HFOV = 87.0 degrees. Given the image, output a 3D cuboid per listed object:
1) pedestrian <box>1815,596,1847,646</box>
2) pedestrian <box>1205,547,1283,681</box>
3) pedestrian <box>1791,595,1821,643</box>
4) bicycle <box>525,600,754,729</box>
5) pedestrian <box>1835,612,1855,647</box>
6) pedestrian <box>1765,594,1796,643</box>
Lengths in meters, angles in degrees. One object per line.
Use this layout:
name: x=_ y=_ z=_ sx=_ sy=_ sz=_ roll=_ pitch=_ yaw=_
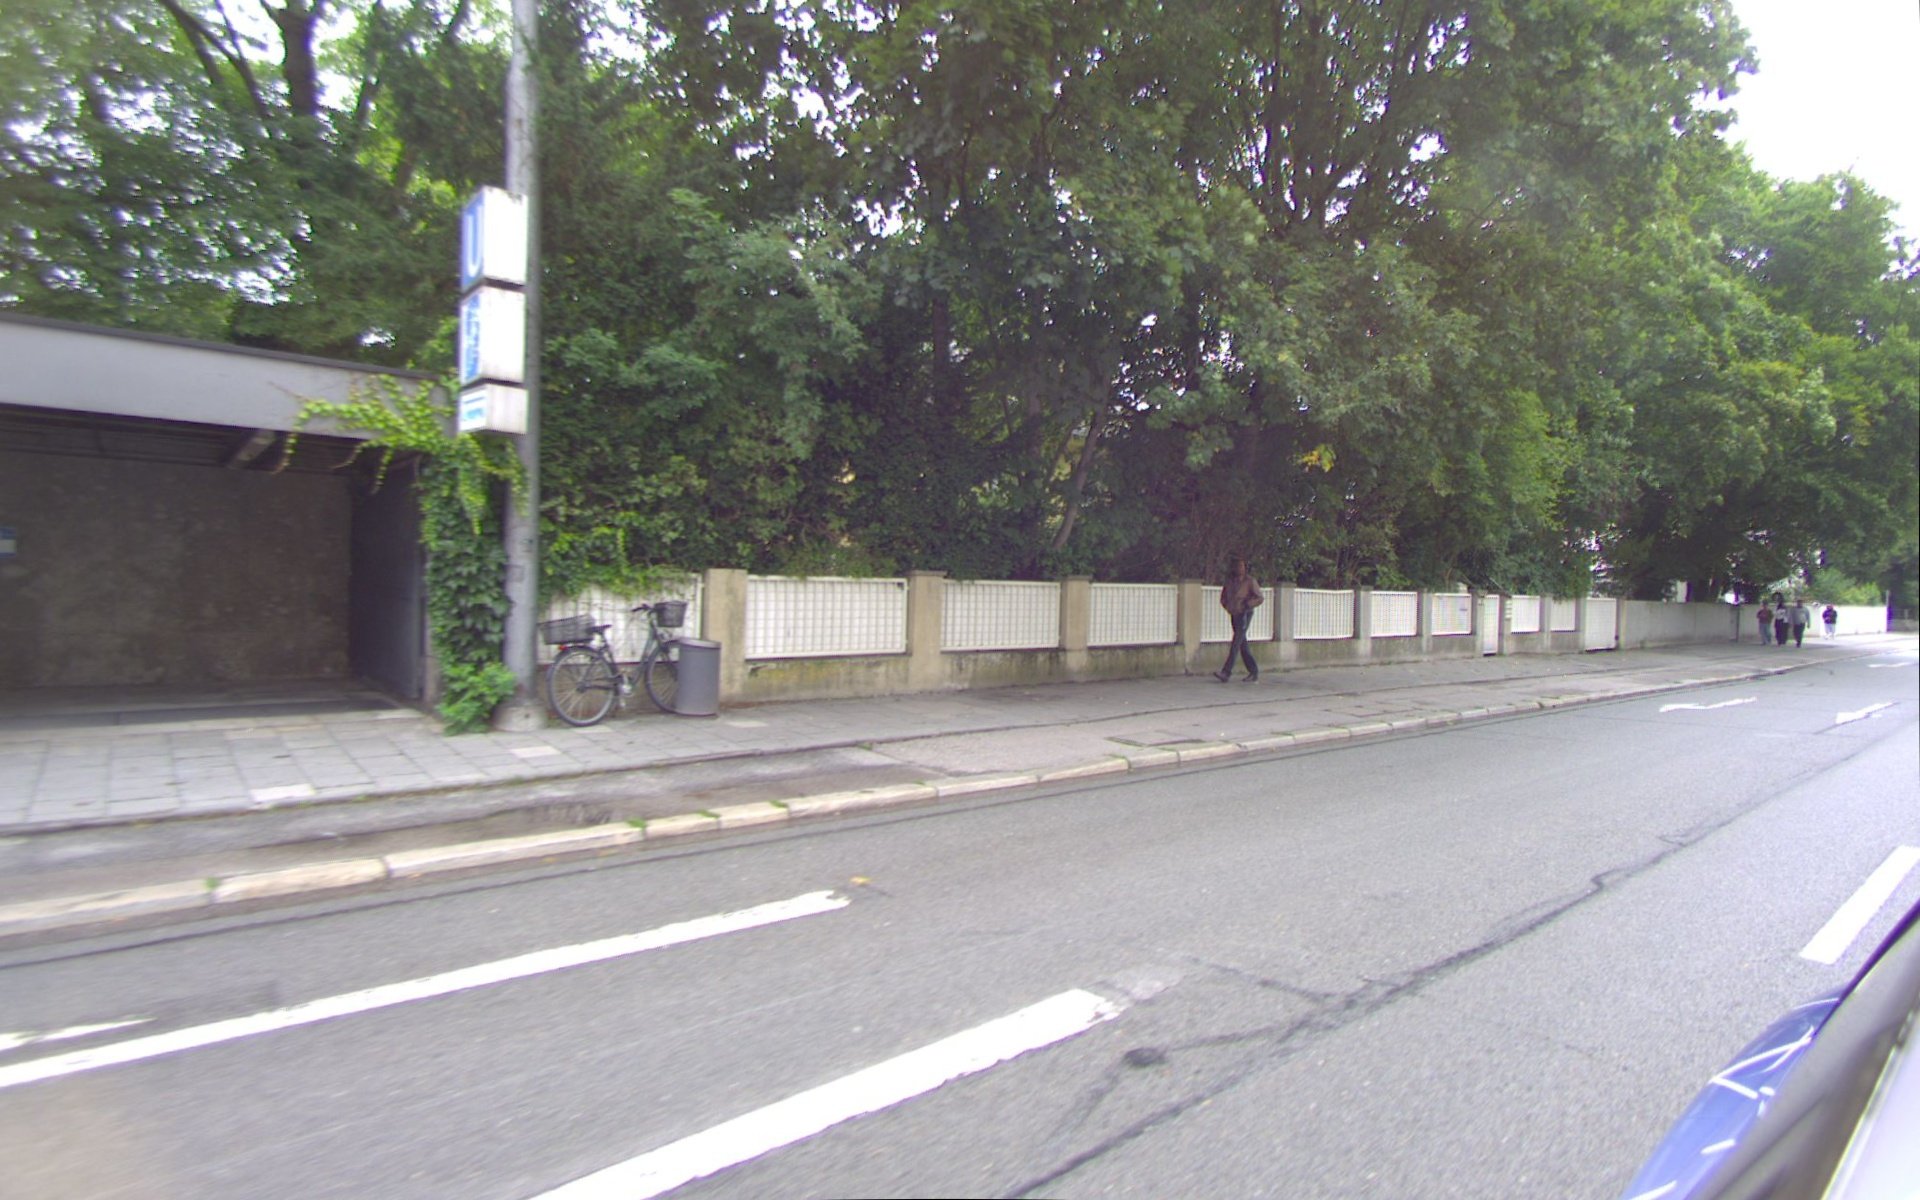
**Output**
pedestrian: x=31.301 y=0.732 z=36.369 sx=0.716 sy=1.743 sz=0.667 roll=1 pitch=3 yaw=-41
pedestrian: x=4.330 y=0.201 z=15.433 sx=0.788 sy=1.966 sz=0.779 roll=1 pitch=2 yaw=-40
pedestrian: x=30.861 y=0.691 z=36.913 sx=0.716 sy=1.713 sz=0.667 roll=1 pitch=3 yaw=-41
bicycle: x=-3.021 y=0.566 z=9.674 sx=1.990 sy=1.104 sz=0.623 roll=1 pitch=1 yaw=-41
pedestrian: x=41.860 y=1.386 z=47.857 sx=0.716 sy=1.600 sz=0.529 roll=1 pitch=3 yaw=-41
pedestrian: x=30.435 y=0.680 z=37.536 sx=0.753 sy=1.726 sz=0.667 roll=1 pitch=3 yaw=-41
